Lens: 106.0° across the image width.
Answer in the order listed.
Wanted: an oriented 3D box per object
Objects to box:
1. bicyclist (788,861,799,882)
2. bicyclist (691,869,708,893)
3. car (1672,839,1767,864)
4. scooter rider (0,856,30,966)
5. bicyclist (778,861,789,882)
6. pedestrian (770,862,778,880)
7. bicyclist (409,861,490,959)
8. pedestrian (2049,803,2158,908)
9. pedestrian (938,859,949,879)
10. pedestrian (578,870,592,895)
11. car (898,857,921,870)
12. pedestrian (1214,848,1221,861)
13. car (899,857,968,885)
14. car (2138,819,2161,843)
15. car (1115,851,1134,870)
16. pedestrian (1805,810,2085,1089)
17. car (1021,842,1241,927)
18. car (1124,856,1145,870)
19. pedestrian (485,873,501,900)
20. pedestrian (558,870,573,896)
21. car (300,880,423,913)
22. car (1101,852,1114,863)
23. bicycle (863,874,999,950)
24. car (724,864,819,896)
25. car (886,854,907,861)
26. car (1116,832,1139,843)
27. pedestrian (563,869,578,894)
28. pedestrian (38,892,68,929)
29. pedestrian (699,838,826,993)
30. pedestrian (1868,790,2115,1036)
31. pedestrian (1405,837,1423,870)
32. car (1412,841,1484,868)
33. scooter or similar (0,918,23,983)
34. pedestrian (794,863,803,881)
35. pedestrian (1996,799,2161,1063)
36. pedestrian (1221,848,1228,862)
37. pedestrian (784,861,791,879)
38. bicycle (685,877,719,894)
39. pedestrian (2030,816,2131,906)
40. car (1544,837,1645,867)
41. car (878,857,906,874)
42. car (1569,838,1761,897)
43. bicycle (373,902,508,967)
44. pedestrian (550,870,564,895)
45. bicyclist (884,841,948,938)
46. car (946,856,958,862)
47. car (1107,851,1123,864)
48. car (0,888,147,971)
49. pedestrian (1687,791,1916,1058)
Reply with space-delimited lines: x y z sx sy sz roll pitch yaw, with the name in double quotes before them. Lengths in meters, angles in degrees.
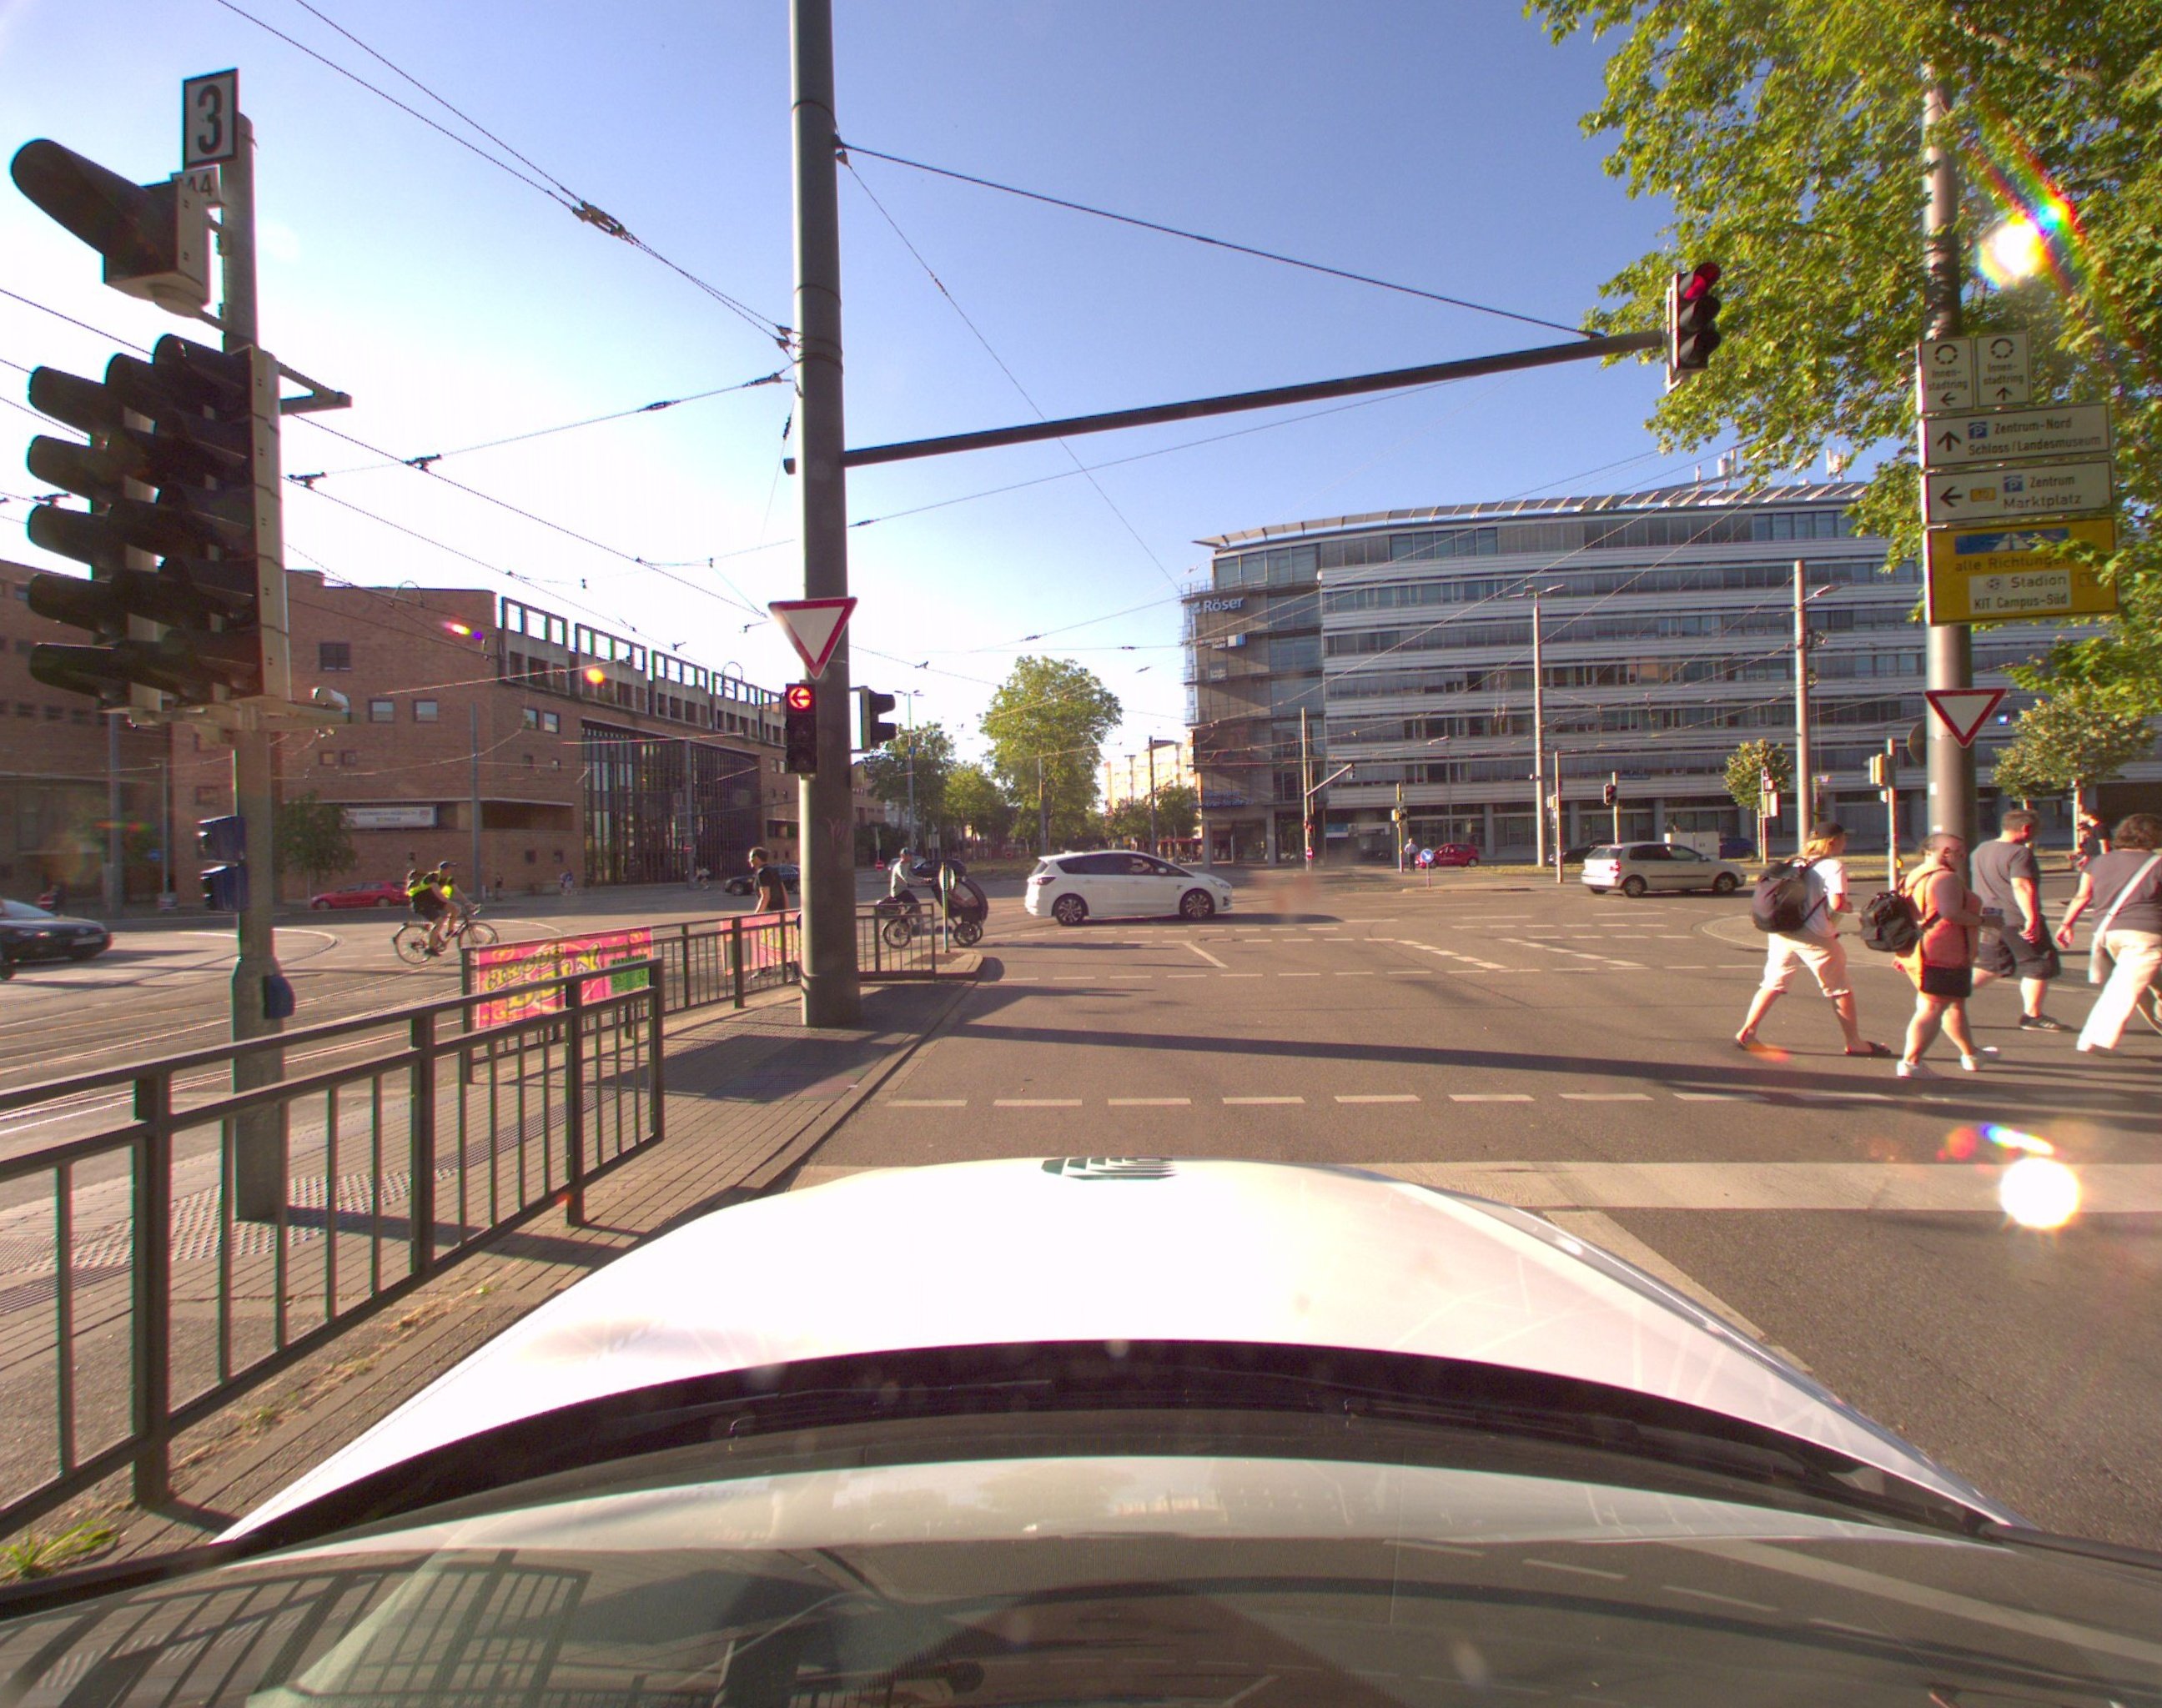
"bicyclist" -23.501 1.402 66.620 0.592 1.675 0.788 -2 0 -4
"bicyclist" -22.469 1.574 48.008 0.820 1.366 0.398 -2 0 -15
"car" 37.767 -0.152 48.284 3.965 1.348 1.980 -2 0 7
"scooter rider" -19.088 1.007 14.141 0.660 1.896 0.737 -2 0 4
"bicyclist" -24.269 1.404 66.383 0.592 1.675 0.788 -2 0 -4
"pedestrian" -31.530 1.775 83.647 0.487 1.810 0.547 -2 0 9
"bicyclist" -11.130 0.966 14.373 0.900 1.664 0.640 -2 0 4
"pedestrian" 18.403 0.031 14.685 0.840 1.820 0.870 -1 0 9
"pedestrian" -10.683 1.135 63.321 0.753 1.530 0.507 -1 0 -6
"pedestrian" -33.100 1.878 54.383 0.617 1.650 0.542 -2 0 31
"car" -20.174 1.096 95.810 1.990 1.508 3.994 -2 0 -4
"pedestrian" 15.444 0.048 92.061 0.734 1.465 0.538 -2 0 11
"car" -8.661 0.977 48.023 3.858 1.507 1.791 -2 0 -8
"car" 66.069 -1.462 48.433 3.970 1.398 1.761 -2 0 3
"car" 4.748 0.670 89.776 1.986 1.991 4.002 -2 0 2
"pedestrian" 5.694 0.583 5.421 1.071 1.681 0.756 -2 0 -6
"car" 1.082 0.659 18.964 4.821 1.727 1.998 -2 0 -2
"car" 5.437 0.865 82.914 1.986 1.332 4.002 -2 0 2
"pedestrian" -35.342 1.960 48.924 0.538 1.613 0.575 -2 0 33
"pedestrian" -33.640 1.882 53.109 0.617 1.650 0.542 -3 0 36
"car" -35.820 2.095 40.661 4.238 1.392 1.790 -2 0 -8
"car" 4.145 0.582 126.851 1.986 1.662 4.002 -2 0 2
"bicycle" -2.662 1.028 14.627 2.147 1.226 1.074 -1 1 5
"car" -16.084 1.313 42.501 4.238 1.434 1.790 -2 0 -8
"car" -39.483 0.723 174.244 4.011 1.552 1.592 0 -1 -29
"car" 8.099 -2.817 141.071 3.732 1.750 1.789 0 -1 16
"pedestrian" -33.944 1.830 54.152 0.617 1.650 0.542 -2 0 32
"pedestrian" -45.851 2.526 36.323 0.542 1.613 0.613 0 1 -3
"pedestrian" -4.000 0.738 10.334 1.207 1.822 1.040 -2 -1 -5
"pedestrian" 7.570 0.454 6.820 1.143 1.893 0.831 -2 0 -6
"pedestrian" 17.322 -0.021 42.371 0.715 1.681 0.558 -1 0 9
"car" 22.264 0.048 49.555 3.578 1.466 1.798 -2 0 5
"scooter or similar" -19.138 1.690 14.080 1.201 1.104 0.403 -2 0 4
"pedestrian" -29.417 1.902 84.716 0.637 1.810 0.547 -2 0 9
"pedestrian" 7.717 0.519 6.016 1.070 1.806 0.756 -2 0 -6
"pedestrian" 16.173 0.111 91.684 0.701 1.465 0.385 -2 0 11
"pedestrian" -30.630 1.673 85.003 0.487 1.810 0.547 -2 0 9
"bicycle" -22.360 1.876 48.033 1.744 0.899 0.407 -2 0 -15
"pedestrian" 19.116 0.132 15.600 0.840 1.681 0.870 -1 0 9
"car" 27.580 -0.115 43.811 4.219 1.392 1.799 -2 0 6
"car" -18.908 1.131 81.667 1.990 1.508 3.994 -2 0 -4
"car" 15.759 0.344 22.145 3.895 1.434 1.825 -2 0 1
"bicycle" -11.284 1.410 14.379 1.914 1.064 0.630 -1 0 4
"pedestrian" -34.993 1.907 54.361 0.617 1.650 0.542 -2 0 34
"bicyclist" -2.960 0.624 14.667 0.900 1.681 0.692 -2 0 5
"car" -34.521 1.270 218.458 1.982 1.508 4.011 -2 0 9
"car" 4.394 0.437 105.113 1.986 1.662 4.002 -2 0 2
"car" -23.051 1.591 17.043 4.377 1.517 1.997 -2 1 -5
"pedestrian" 5.425 0.495 6.184 1.072 1.871 0.737 -2 0 -6
